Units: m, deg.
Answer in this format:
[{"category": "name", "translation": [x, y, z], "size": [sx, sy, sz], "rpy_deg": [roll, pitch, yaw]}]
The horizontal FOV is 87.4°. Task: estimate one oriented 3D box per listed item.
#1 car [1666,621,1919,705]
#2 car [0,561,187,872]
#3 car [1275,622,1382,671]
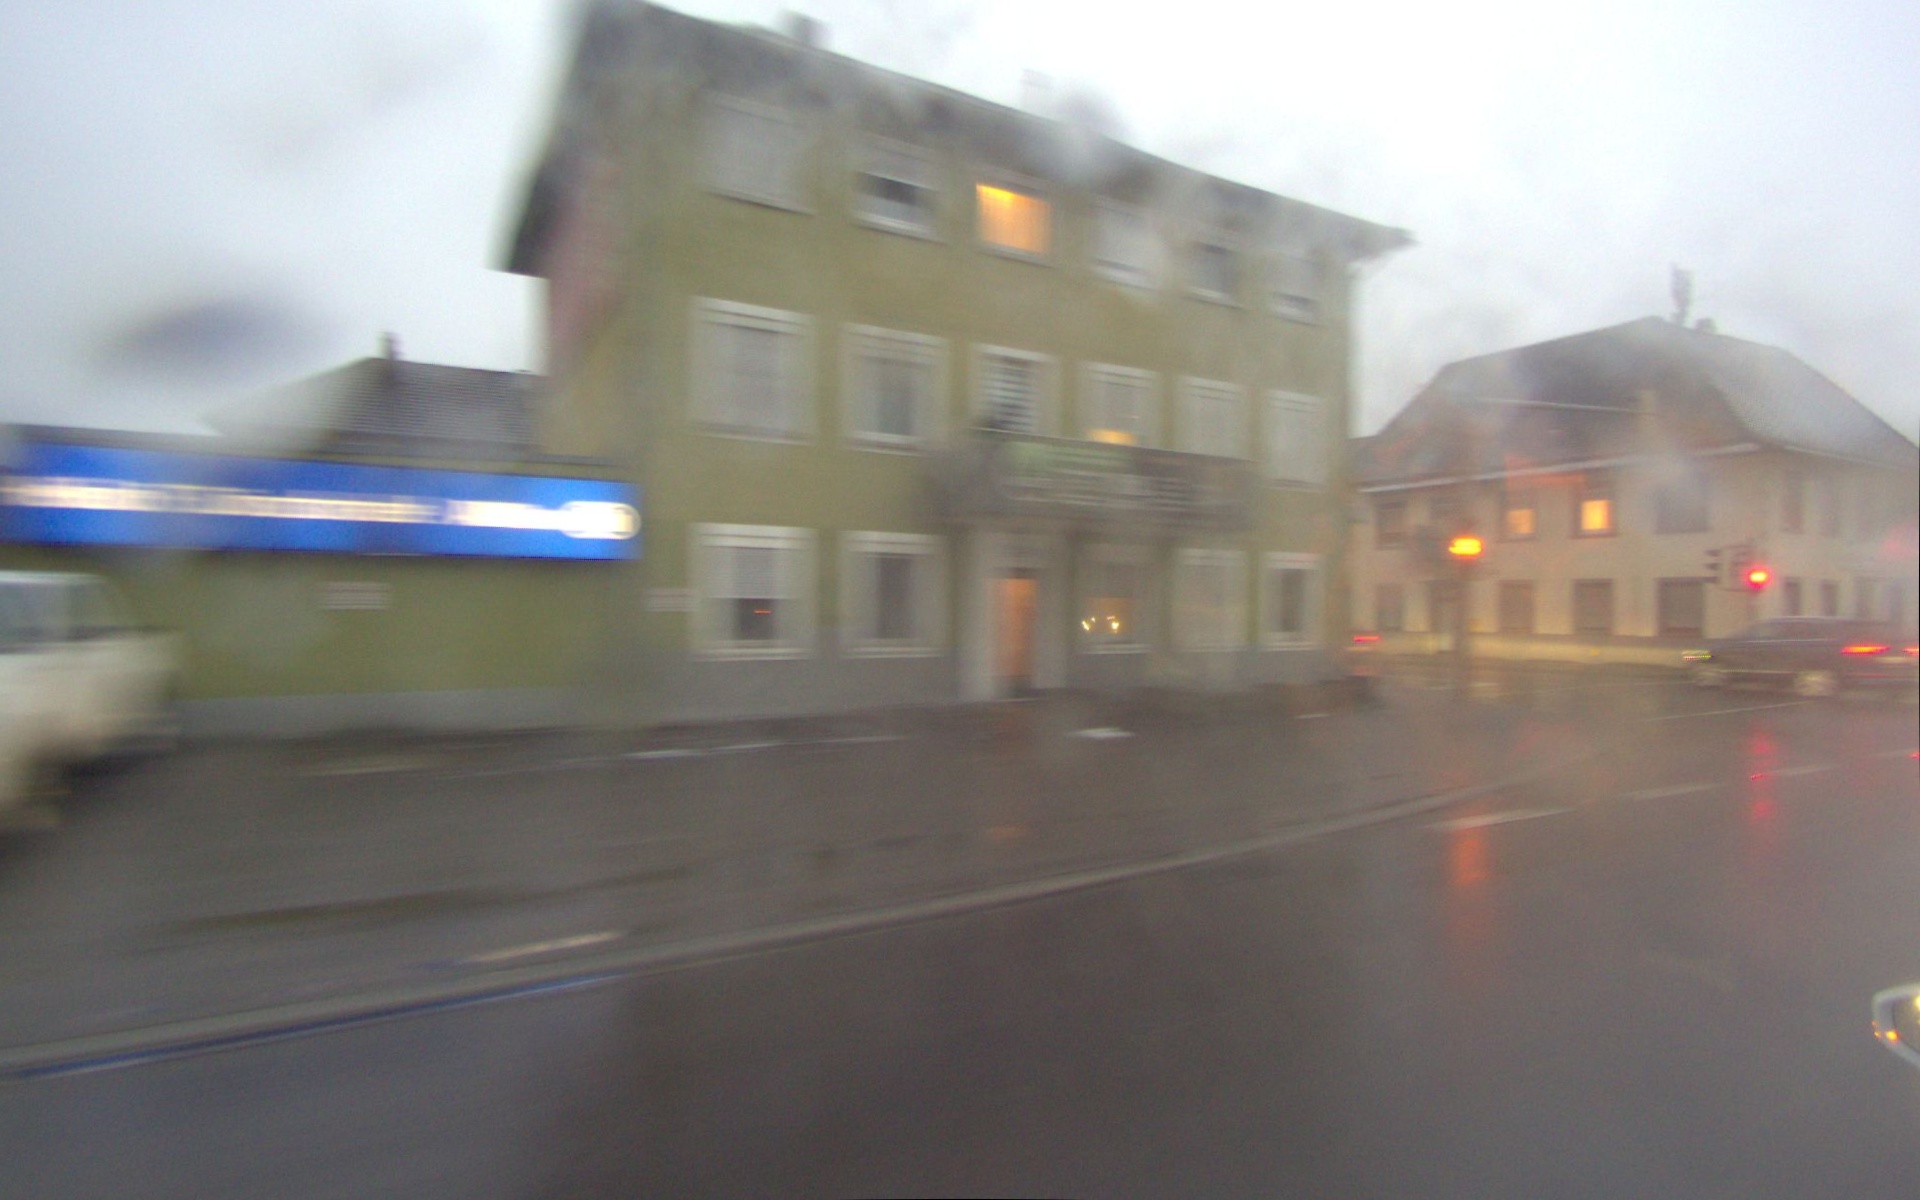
[{"category": "car", "translation": [17.748, 1.257, 21.454], "size": [2.013, 1.593, 4.703], "rpy_deg": [0, -1, 0]}, {"category": "car", "translation": [-7.461, 0.678, 7.326], "size": [1.975, 1.814, 5.169], "rpy_deg": [1, -1, -27]}, {"category": "car", "translation": [12.812, 1.579, 35.046], "size": [1.533, 1.528, 3.195], "rpy_deg": [0, 1, -35]}]
